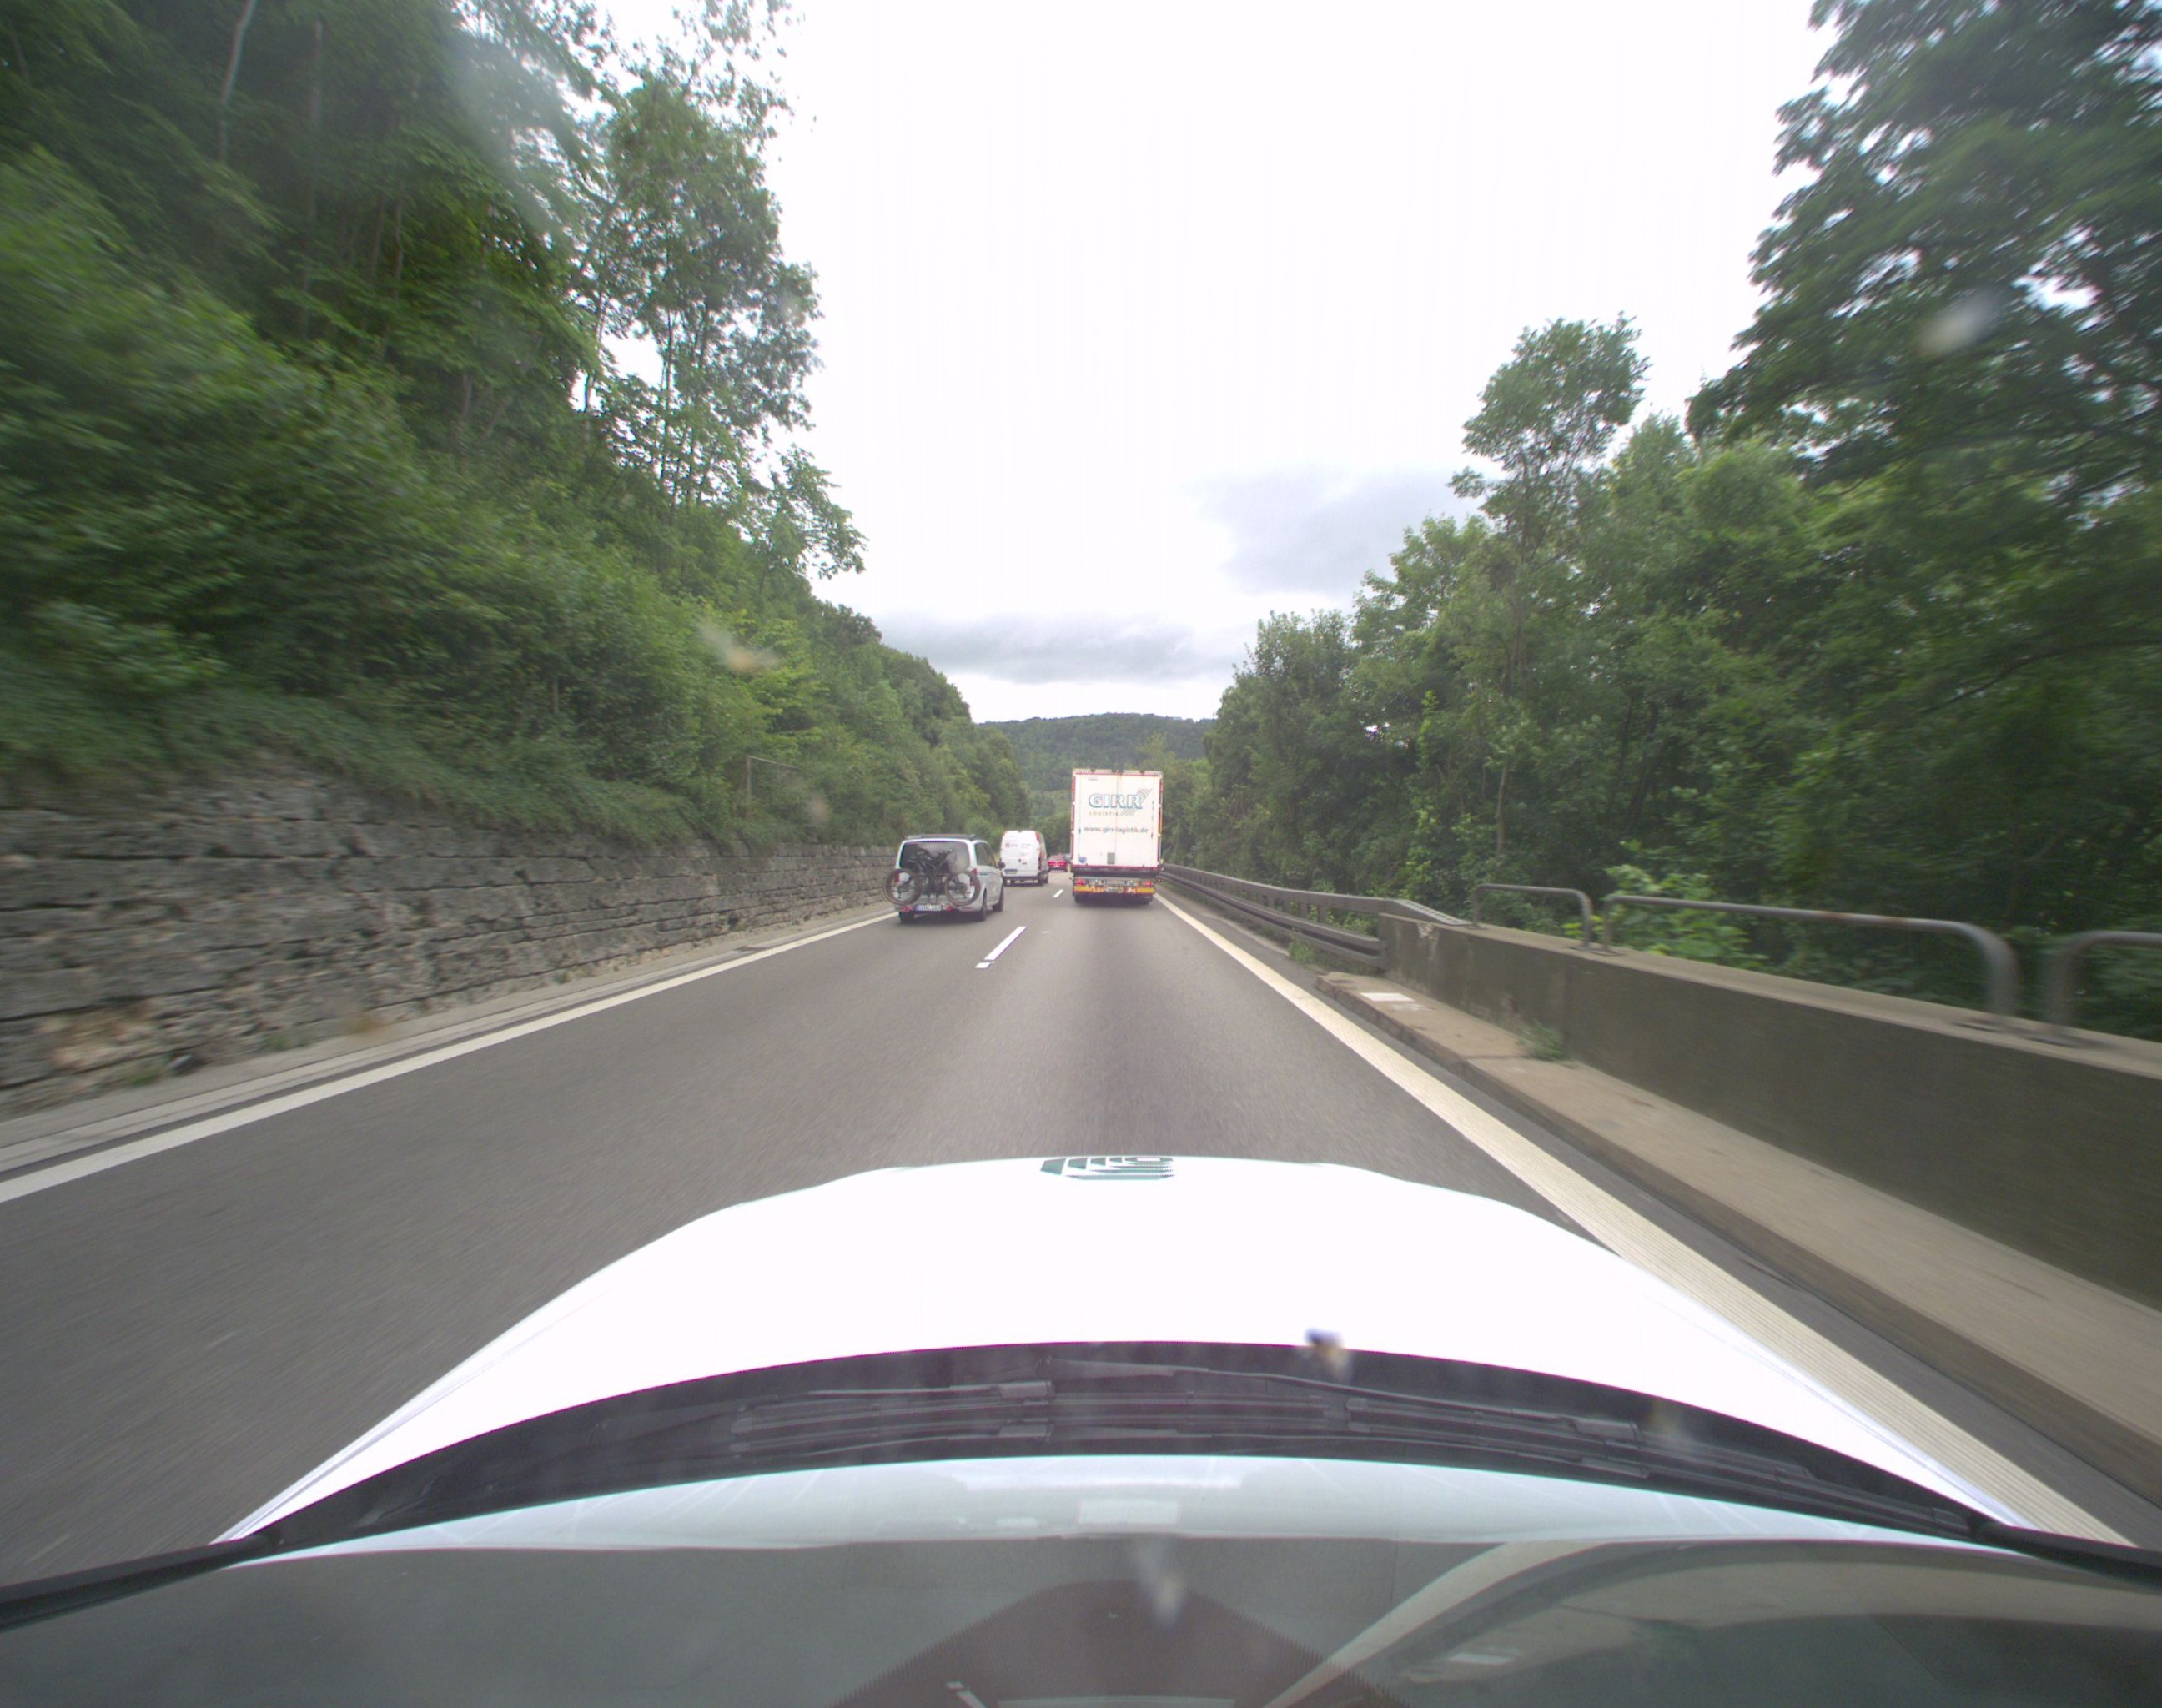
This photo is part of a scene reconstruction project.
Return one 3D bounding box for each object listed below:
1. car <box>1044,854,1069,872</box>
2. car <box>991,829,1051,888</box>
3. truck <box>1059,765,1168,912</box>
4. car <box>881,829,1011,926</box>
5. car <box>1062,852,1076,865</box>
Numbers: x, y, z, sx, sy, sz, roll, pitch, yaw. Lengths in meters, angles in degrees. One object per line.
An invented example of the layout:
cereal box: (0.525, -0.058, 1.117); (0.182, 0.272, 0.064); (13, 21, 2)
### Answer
car: (-2.122, 0.805, 70.800); (1.759, 1.460, 4.415); (-2, 0, 3)
car: (-2.832, 0.216, 40.028); (2.017, 2.585, 6.280); (-2, 0, 3)
truck: (1.054, -0.423, 27.058); (2.898, 3.960, 9.282); (-2, 0, 2)
car: (-2.993, 0.465, 19.569); (1.986, 1.953, 6.148); (0, 0, 1)
car: (-1.619, 0.643, 109.457); (1.663, 1.638, 4.069); (-2, 0, 1)
